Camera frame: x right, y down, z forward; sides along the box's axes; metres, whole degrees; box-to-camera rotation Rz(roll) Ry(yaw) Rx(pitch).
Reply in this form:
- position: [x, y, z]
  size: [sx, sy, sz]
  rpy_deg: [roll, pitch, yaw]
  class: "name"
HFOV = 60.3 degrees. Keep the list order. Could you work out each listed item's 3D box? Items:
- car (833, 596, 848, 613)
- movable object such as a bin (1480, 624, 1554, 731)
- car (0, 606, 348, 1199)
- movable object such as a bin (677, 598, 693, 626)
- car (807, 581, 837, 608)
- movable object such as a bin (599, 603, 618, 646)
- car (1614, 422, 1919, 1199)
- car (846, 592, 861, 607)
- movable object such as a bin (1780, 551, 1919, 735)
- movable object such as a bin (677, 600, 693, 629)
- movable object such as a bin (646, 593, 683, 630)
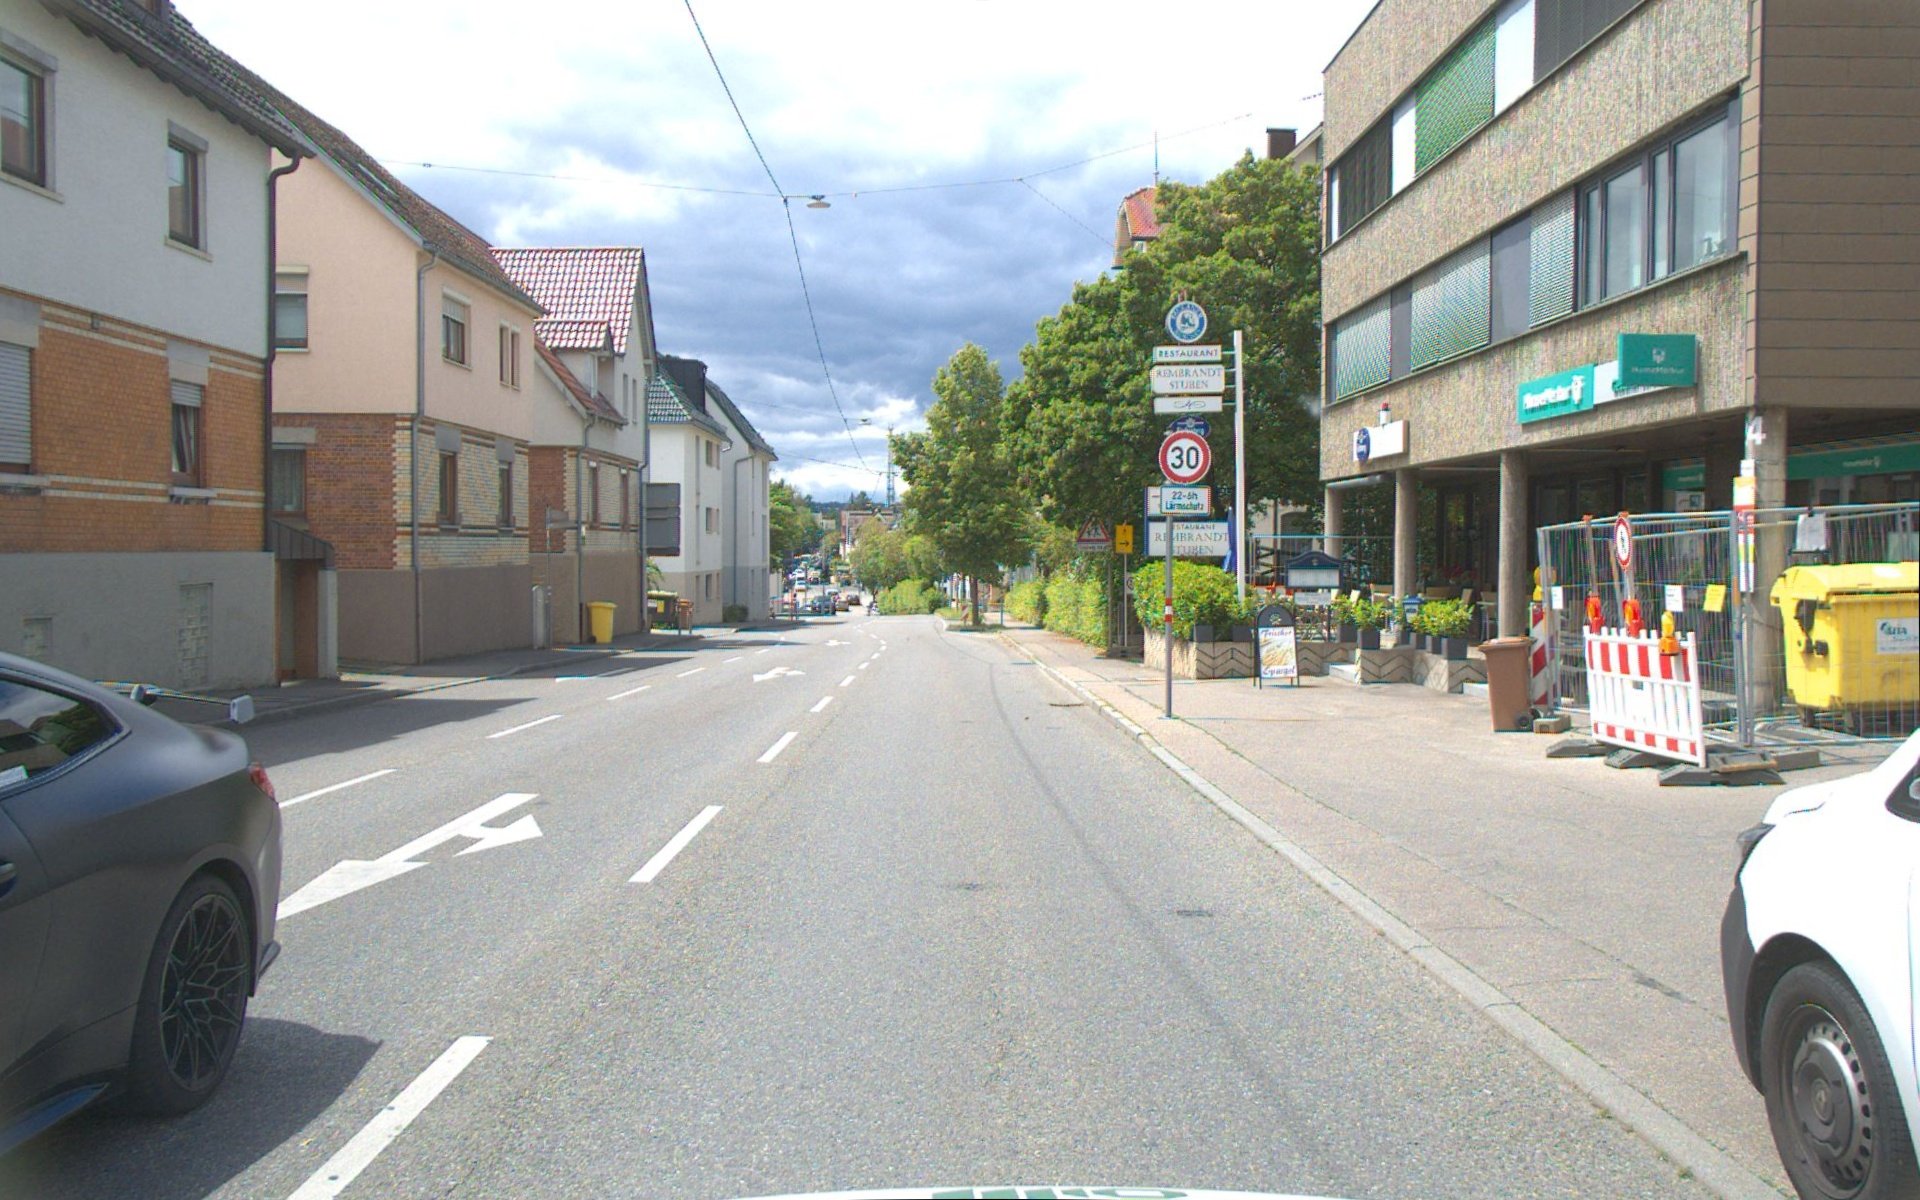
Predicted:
- position: [-15.485, 0.578, 214.282]
  size: [1.955, 2.049, 3.996]
  rpy_deg: [-1, 0, -5]
  class: "car"
- position: [5.684, 0.780, 16.863]
  size: [0.591, 1.044, 0.678]
  rpy_deg: [-1, 0, 29]
  class: "movable object such as a bin"
- position: [-3.049, 0.812, 3.344]
  size: [1.953, 1.482, 4.616]
  rpy_deg: [-1, 1, -1]
  class: "car"
- position: [-10.355, 0.444, 62.272]
  size: [0.521, 1.048, 0.455]
  rpy_deg: [-1, 0, -3]
  class: "movable object such as a bin"
- position: [-10.653, -0.454, 127.107]
  size: [1.957, 2.049, 3.991]
  rpy_deg: [0, 0, -10]
  class: "car"
- position: [-9.439, 0.655, 44.460]
  size: [0.422, 1.147, 0.299]
  rpy_deg: [-1, 0, -3]
  class: "movable object such as a bin"
- position: [2.951, 0.504, 2.737]
  size: [1.872, 1.825, 4.490]
  rpy_deg: [-3, 0, 0]
  class: "car"
- position: [-14.832, -0.021, 229.846]
  size: [1.955, 2.049, 3.996]
  rpy_deg: [-1, 0, -5]
  class: "car"
- position: [8.213, 0.349, 14.581]
  size: [1.451, 1.518, 1.077]
  rpy_deg: [-1, 3, 2]
  class: "movable object such as a bin"
- position: [-10.243, 0.529, 61.536]
  size: [0.521, 1.048, 0.455]
  rpy_deg: [-1, 0, -3]
  class: "movable object such as a bin"
- position: [-10.800, 0.412, 60.426]
  size: [1.256, 1.333, 0.815]
  rpy_deg: [-1, 0, -7]
  class: "movable object such as a bin"
